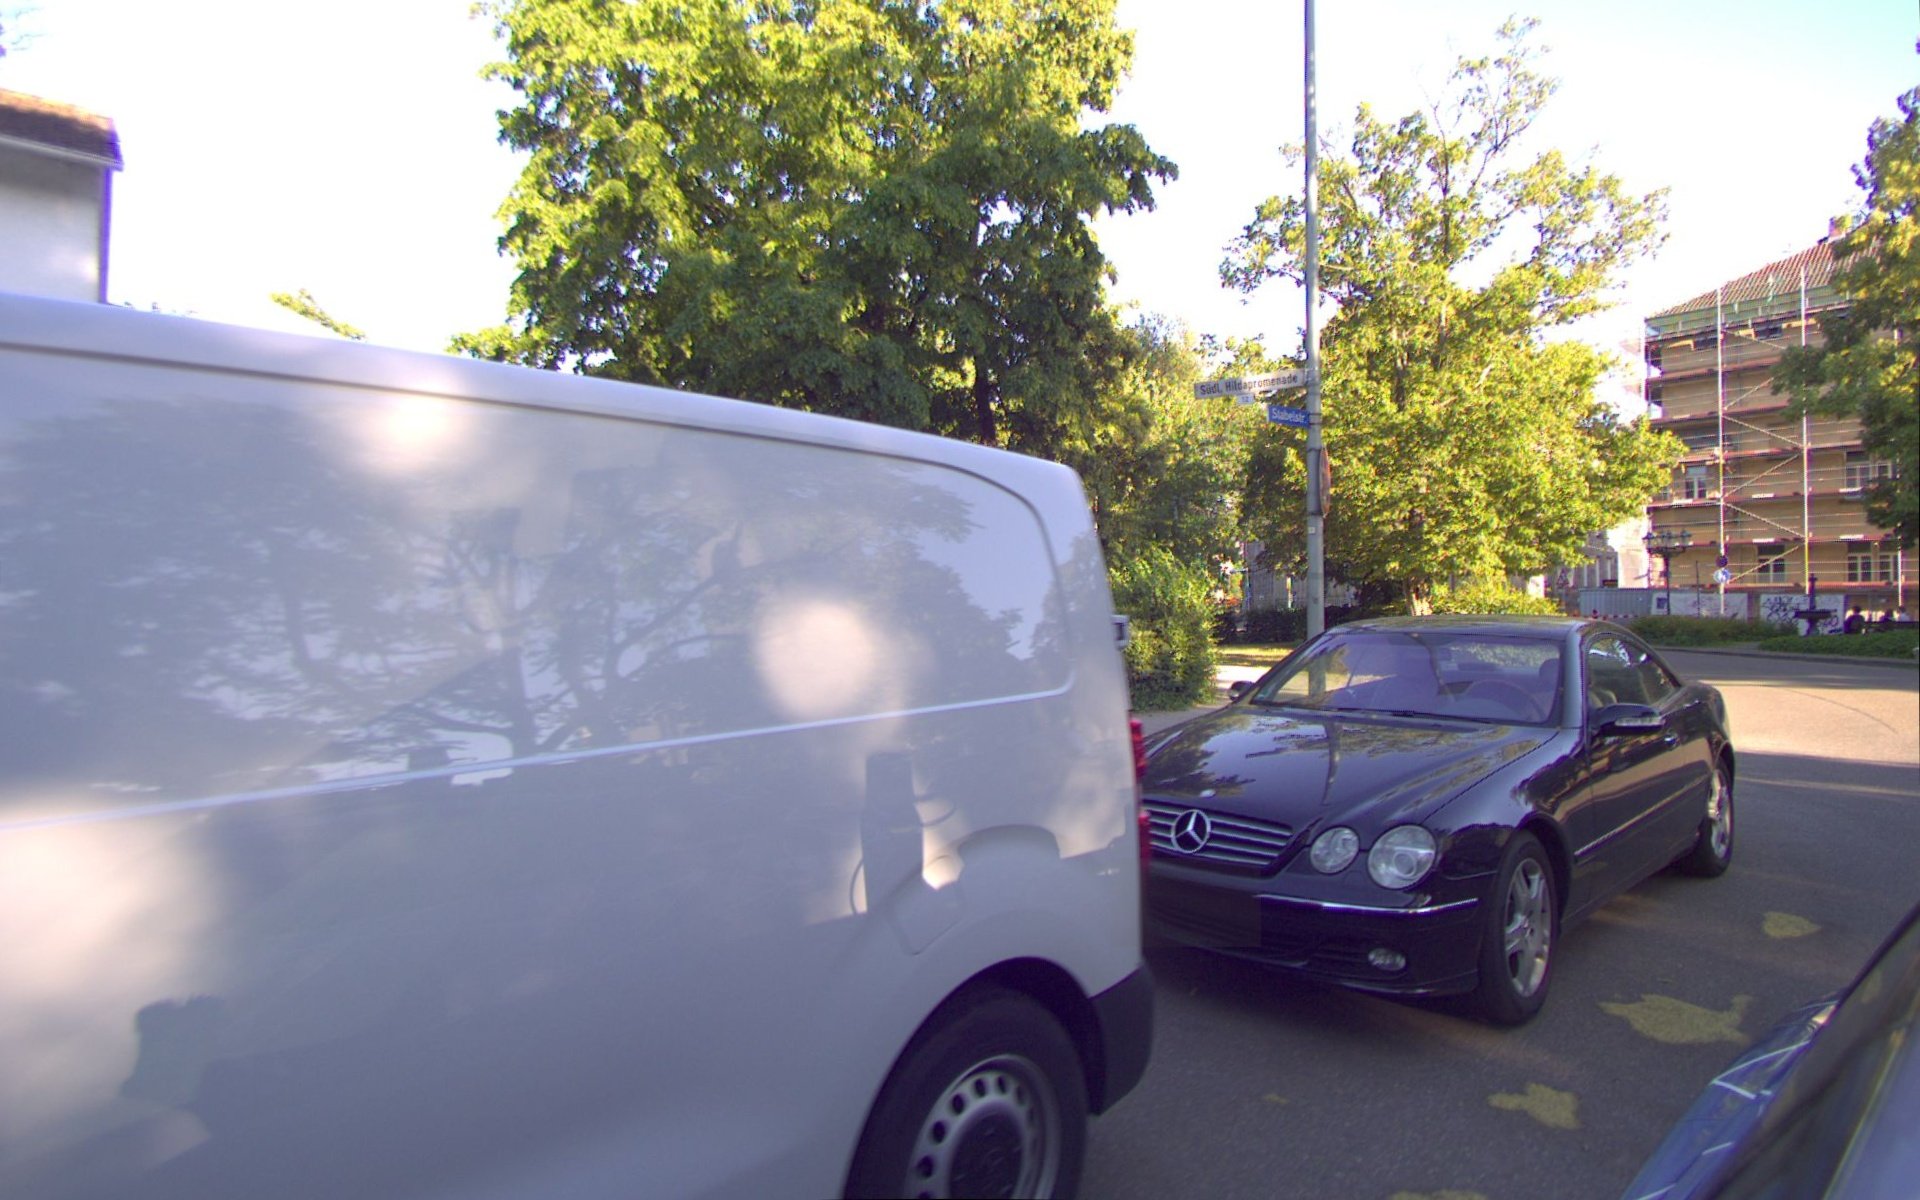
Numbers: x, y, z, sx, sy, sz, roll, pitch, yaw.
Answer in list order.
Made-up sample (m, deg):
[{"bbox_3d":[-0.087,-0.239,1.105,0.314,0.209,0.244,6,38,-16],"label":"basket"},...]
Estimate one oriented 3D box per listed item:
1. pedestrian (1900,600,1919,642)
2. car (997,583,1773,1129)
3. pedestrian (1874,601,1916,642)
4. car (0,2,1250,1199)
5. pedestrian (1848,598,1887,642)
[{"bbox_3d":[28.838,0.613,30.399,0.544,1.249,0.722,0,-1,12],"label":"pedestrian"},{"bbox_3d":[2.493,0.700,5.056,4.783,1.487,1.767,0,-1,-43],"label":"car"},{"bbox_3d":[28.298,0.643,30.631,0.544,1.211,0.881,0,-1,12],"label":"pedestrian"},{"bbox_3d":[-1.771,0.420,1.600,5.066,2.039,1.954,0,-1,-43],"label":"car"},{"bbox_3d":[27.526,0.593,30.716,0.544,1.314,0.763,0,-1,12],"label":"pedestrian"}]
